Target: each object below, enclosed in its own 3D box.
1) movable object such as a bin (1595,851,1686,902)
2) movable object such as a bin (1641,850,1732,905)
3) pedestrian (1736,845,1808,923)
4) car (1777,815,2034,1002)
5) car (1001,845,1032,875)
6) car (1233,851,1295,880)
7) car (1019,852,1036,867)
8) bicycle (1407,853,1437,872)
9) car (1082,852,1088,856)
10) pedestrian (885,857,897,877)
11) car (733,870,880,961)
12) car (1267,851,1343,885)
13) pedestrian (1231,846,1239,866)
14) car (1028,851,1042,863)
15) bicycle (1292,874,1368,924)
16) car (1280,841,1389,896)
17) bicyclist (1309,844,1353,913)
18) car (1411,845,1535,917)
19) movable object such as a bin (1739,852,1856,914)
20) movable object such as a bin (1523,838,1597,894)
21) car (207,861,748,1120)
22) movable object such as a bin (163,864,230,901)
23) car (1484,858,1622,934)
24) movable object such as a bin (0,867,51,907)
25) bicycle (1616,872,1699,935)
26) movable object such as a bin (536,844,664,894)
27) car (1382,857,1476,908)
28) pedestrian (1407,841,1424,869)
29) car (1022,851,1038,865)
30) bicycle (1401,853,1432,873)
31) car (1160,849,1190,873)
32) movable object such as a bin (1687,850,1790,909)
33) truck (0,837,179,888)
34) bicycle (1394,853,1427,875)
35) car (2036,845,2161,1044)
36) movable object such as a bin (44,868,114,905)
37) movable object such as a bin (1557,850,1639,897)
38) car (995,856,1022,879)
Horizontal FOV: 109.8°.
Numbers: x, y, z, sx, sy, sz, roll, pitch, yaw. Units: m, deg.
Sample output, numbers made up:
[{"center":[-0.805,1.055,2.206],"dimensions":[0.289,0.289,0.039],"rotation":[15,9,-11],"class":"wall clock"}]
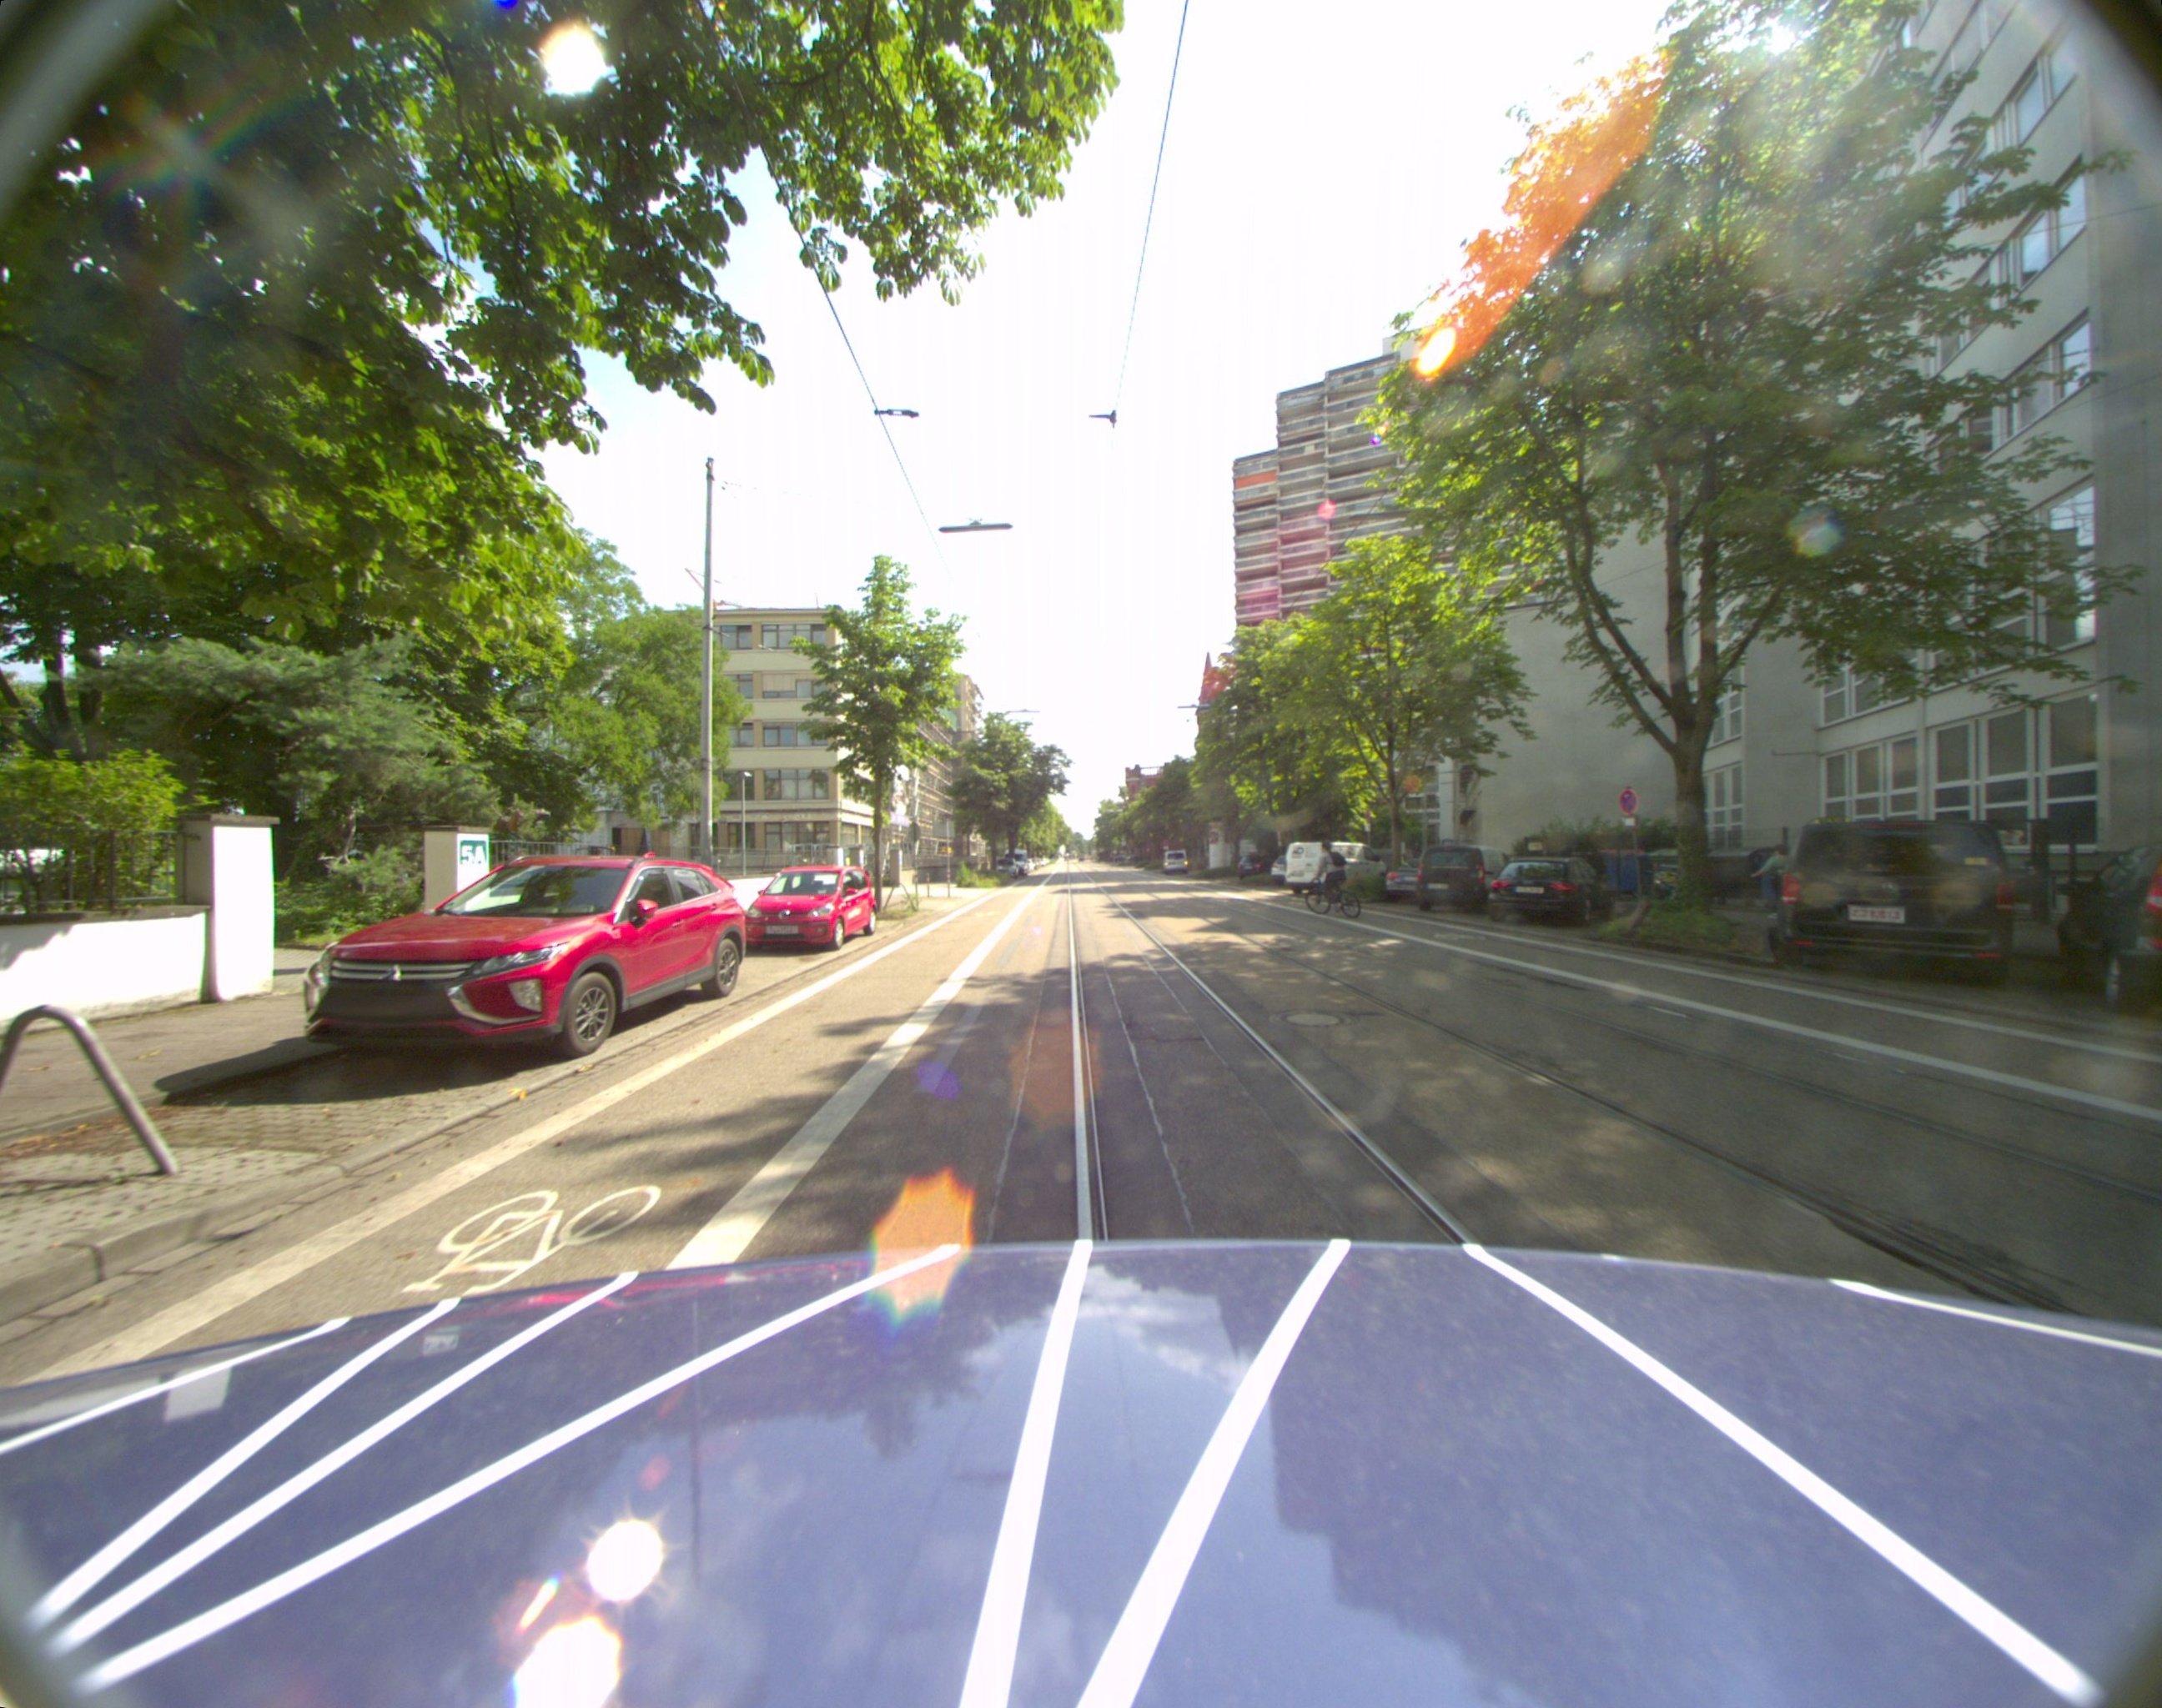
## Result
[{"center":[16.088,0.632,21.913],"dimensions":[1.391,1.356,1.538],"rotation":[2,1,-5],"class":"movable object such as a bin"},{"center":[16.150,0.614,20.320],"dimensions":[1.196,1.372,1.441],"rotation":[2,1,-4],"class":"movable object such as a bin"},{"center":[14.361,0.600,15.810],"dimensions":[0.645,1.567,0.881],"rotation":[0,1,-4],"class":"pedestrian"},{"center":[10.888,0.580,10.394],"dimensions":[1.911,1.943,5.180],"rotation":[2,0,43],"class":"car"},{"center":[-5.916,0.525,70.171],"dimensions":[2.337,2.545,5.388],"rotation":[-4,1,-2],"class":"car"},{"center":[10.448,0.611,43.238],"dimensions":[1.737,1.514,3.893],"rotation":[-1,0,43],"class":"car"},{"center":[-6.260,0.610,89.893],"dimensions":[1.750,1.597,4.235],"rotation":[-4,1,-2],"class":"car"},{"center":[19.686,0.515,43.893],"dimensions":[1.577,1.074,0.543],"rotation":[-1,-2,23],"class":"bicycle"},{"center":[1.435,0.004,263.004],"dimensions":[1.892,1.635,4.235],"rotation":[-1,0,-3],"class":"car"},{"center":[-12.892,0.901,51.533],"dimensions":[0.634,1.306,0.463],"rotation":[-3,3,6],"class":"pedestrian"},{"center":[-5.064,1.069,14.513],"dimensions":[1.604,1.420,3.595],"rotation":[0,1,-2],"class":"car"},{"center":[10.882,0.649,36.820],"dimensions":[1.817,1.492,4.202],"rotation":[-1,0,43],"class":"car"},{"center":[13.858,0.183,68.503],"dimensions":[0.524,1.745,0.635],"rotation":[-3,3,3],"class":"pedestrian"},{"center":[-6.703,0.415,111.114],"dimensions":[1.750,1.597,4.235],"rotation":[-4,1,-2],"class":"car"},{"center":[5.806,1.019,17.846],"dimensions":[0.658,1.034,1.997],"rotation":[-1,1,-18],"class":"bicycle"},{"center":[9.915,0.498,29.540],"dimensions":[4.695,1.985,1.963],"rotation":[-1,0,-43],"class":"car"},{"center":[5.836,0.552,17.760],"dimensions":[0.644,1.567,0.741],"rotation":[-1,1,-18],"class":"bicyclist"},{"center":[10.318,0.663,19.882],"dimensions":[3.723,1.683,1.755],"rotation":[1,0,-44],"class":"car"},{"center":[15.908,0.619,16.933],"dimensions":[1.171,1.276,1.441],"rotation":[2,1,-2],"class":"movable object such as a bin"},{"center":[15.922,0.371,25.313],"dimensions":[1.391,1.771,1.538],"rotation":[2,1,-5],"class":"movable object such as a bin"},{"center":[-4.965,0.941,7.233],"dimensions":[1.881,1.666,4.280],"rotation":[1,0,-3],"class":"car"},{"center":[-33.466,1.071,28.762],"dimensions":[1.091,1.344,1.369],"rotation":[0,0,24],"class":"movable object such as a bin"},{"center":[10.303,0.820,16.460],"dimensions":[1.755,1.409,4.009],"rotation":[2,0,43],"class":"car"},{"center":[-35.228,1.069,25.123],"dimensions":[1.001,1.285,1.193],"rotation":[0,0,24],"class":"movable object such as a bin"},{"center":[11.241,0.928,14.800],"dimensions":[2.004,1.112,0.582],"rotation":[-1,1,-31],"class":"bicycle"},{"center":[-24.860,0.835,39.377],"dimensions":[5.444,2.429,1.995],"rotation":[2,-2,-37],"class":"movable object such as a bin"},{"center":[10.771,0.821,23.384],"dimensions":[1.717,1.409,4.009],"rotation":[2,0,38],"class":"car"},{"center":[19.714,0.066,44.733],"dimensions":[0.642,1.615,0.661],"rotation":[-2,2,-9],"class":"pedestrian"},{"center":[-6.711,0.537,100.235],"dimensions":[1.750,1.597,4.235],"rotation":[-4,1,-2],"class":"car"},{"center":[19.044,0.518,43.141],"dimensions":[1.577,1.086,0.543],"rotation":[-1,-2,23],"class":"bicycle"},{"center":[7.915,0.547,64.304],"dimensions":[1.892,1.841,4.235],"rotation":[-4,1,-1],"class":"car"},{"center":[15.865,0.592,18.389],"dimensions":[1.167,1.320,1.441],"rotation":[2,1,-2],"class":"movable object such as a bin"},{"center":[-60.051,0.484,46.116],"dimensions":[1.997,2.761,6.564],"rotation":[-3,-1,13],"class":"truck"},{"center":[17.331,0.548,40.037],"dimensions":[1.577,1.155,0.543],"rotation":[-1,-2,23],"class":"bicycle"},{"center":[10.547,0.762,6.968],"dimensions":[1.736,1.583,4.009],"rotation":[2,0,45],"class":"car"},{"center":[-34.615,1.114,26.263],"dimensions":[1.026,1.213,1.276],"rotation":[0,0,25],"class":"movable object such as a bin"},{"center":[15.996,0.592,23.567],"dimensions":[1.391,1.356,1.538],"rotation":[2,1,-5],"class":"movable object such as a bin"},{"center":[-5.697,1.046,59.918],"dimensions":[1.750,1.597,4.235],"rotation":[-4,1,-2],"class":"car"}]
